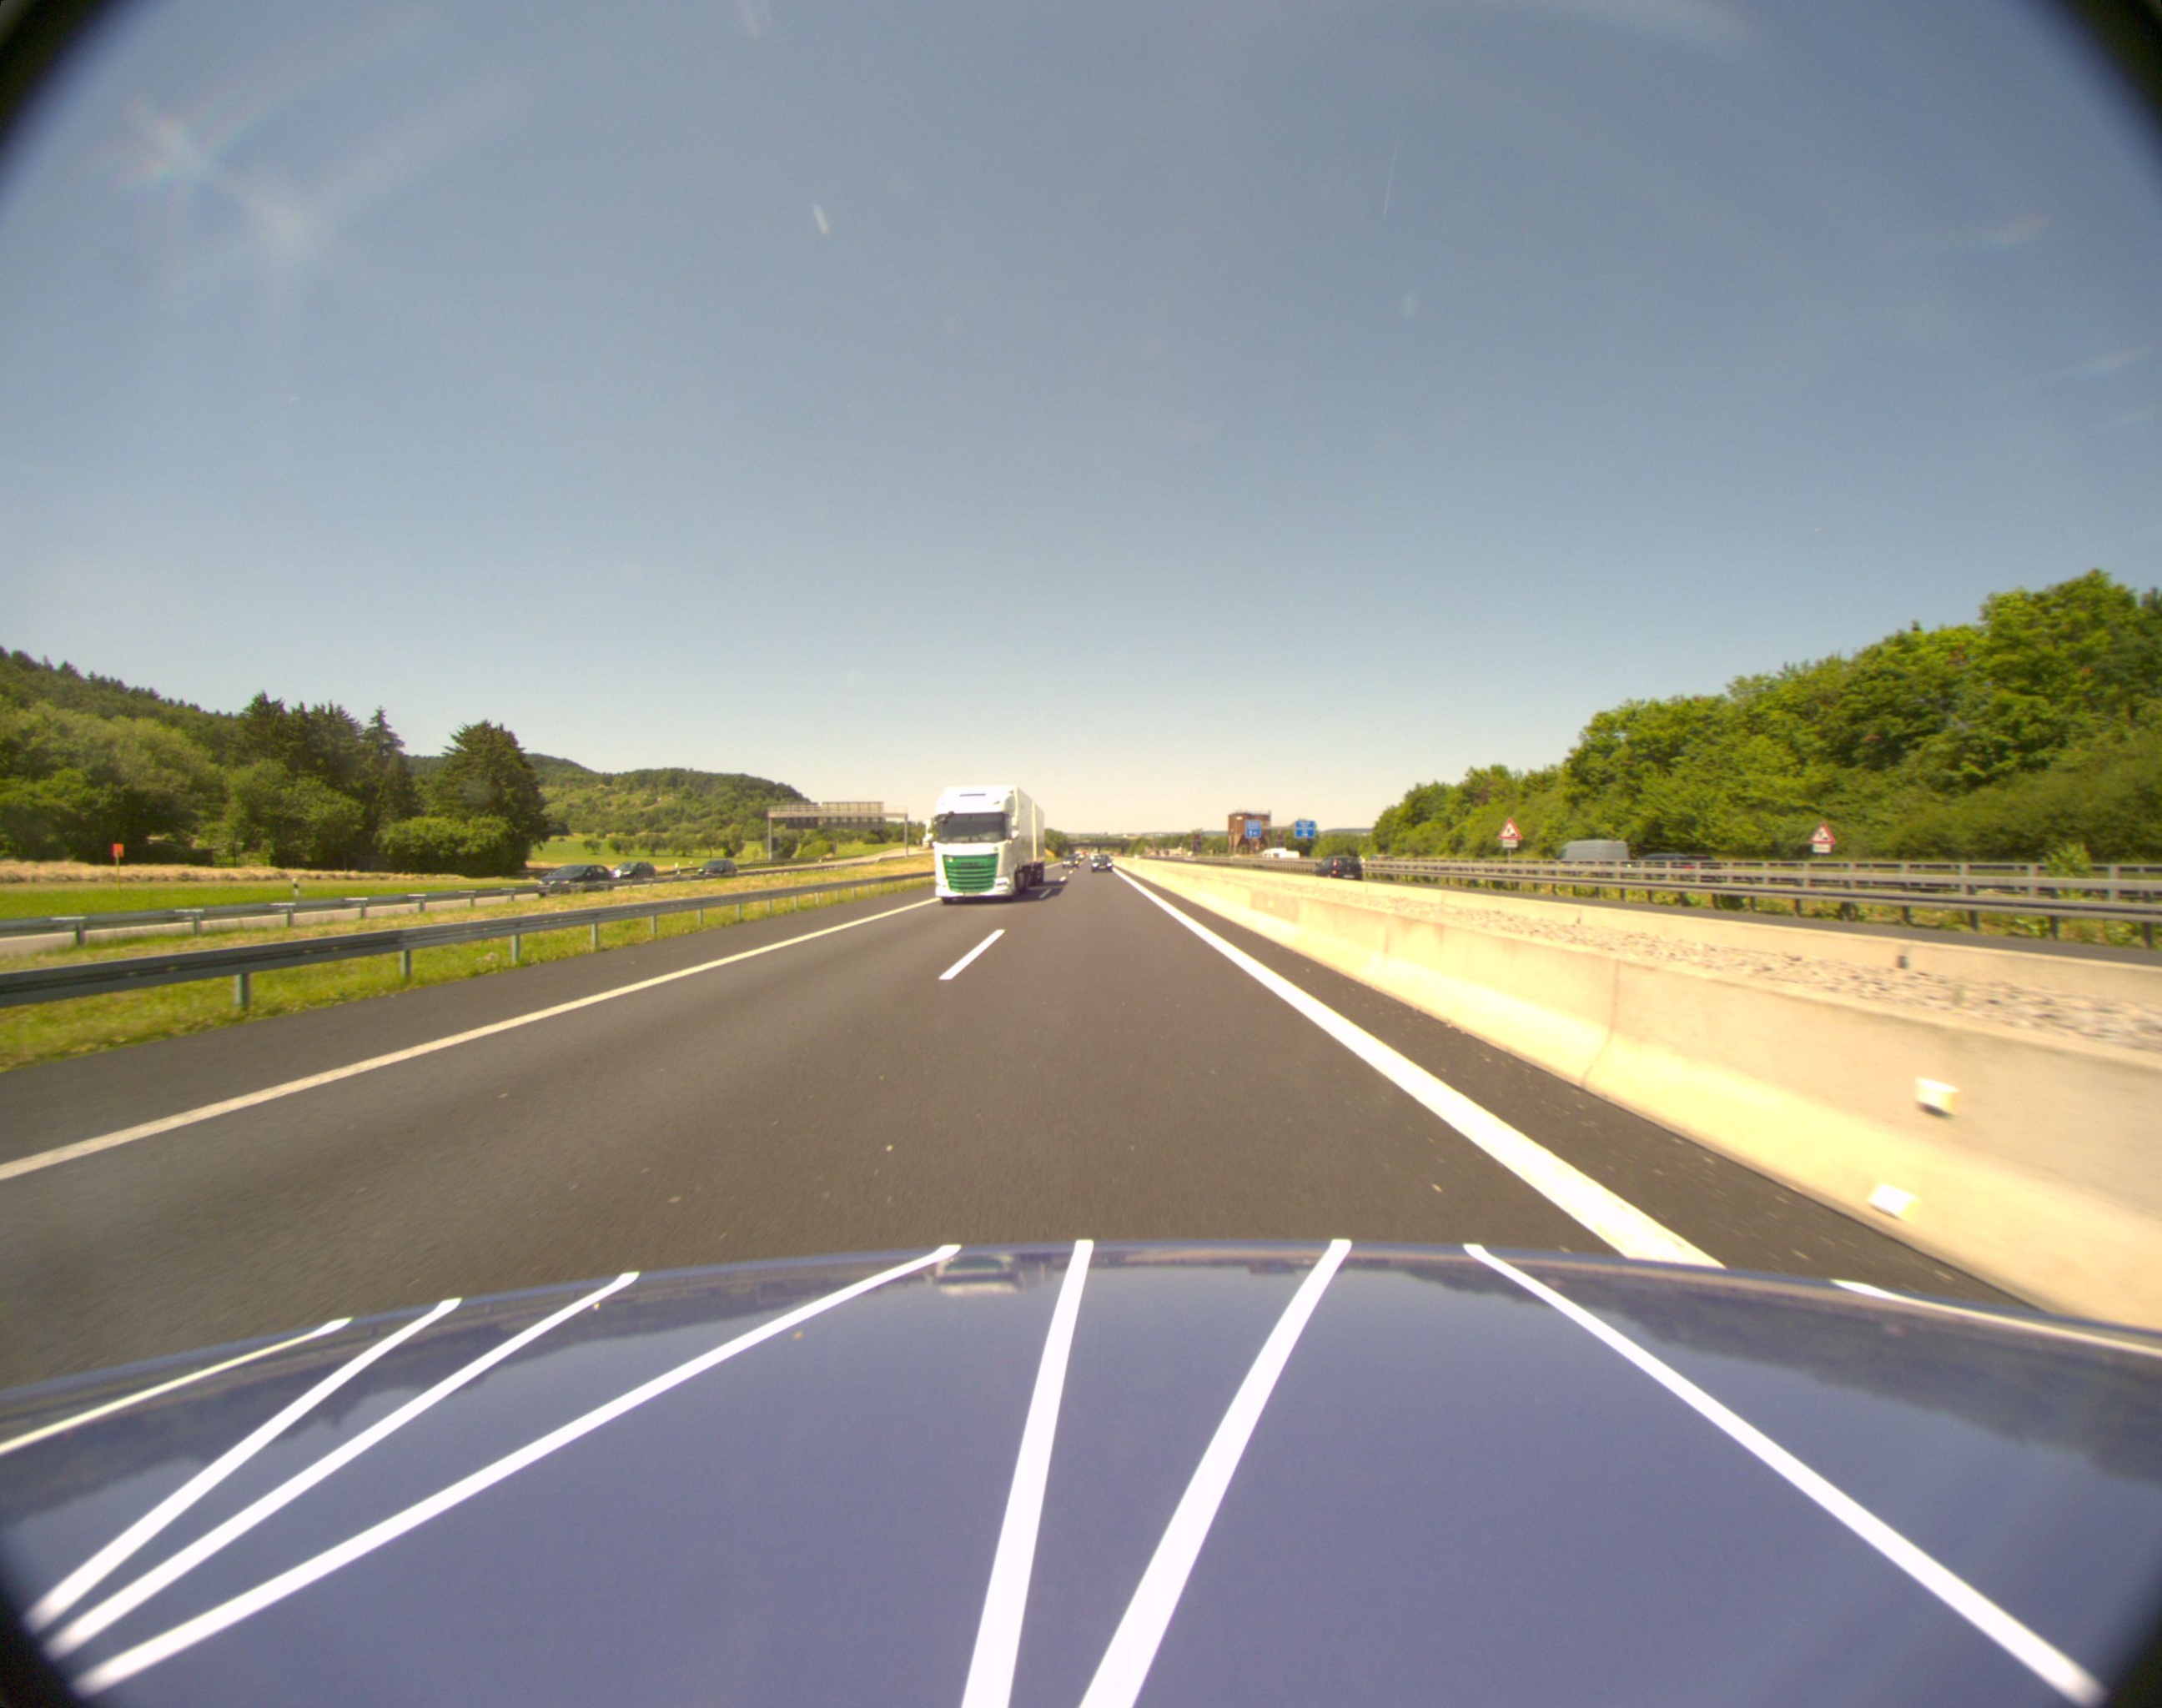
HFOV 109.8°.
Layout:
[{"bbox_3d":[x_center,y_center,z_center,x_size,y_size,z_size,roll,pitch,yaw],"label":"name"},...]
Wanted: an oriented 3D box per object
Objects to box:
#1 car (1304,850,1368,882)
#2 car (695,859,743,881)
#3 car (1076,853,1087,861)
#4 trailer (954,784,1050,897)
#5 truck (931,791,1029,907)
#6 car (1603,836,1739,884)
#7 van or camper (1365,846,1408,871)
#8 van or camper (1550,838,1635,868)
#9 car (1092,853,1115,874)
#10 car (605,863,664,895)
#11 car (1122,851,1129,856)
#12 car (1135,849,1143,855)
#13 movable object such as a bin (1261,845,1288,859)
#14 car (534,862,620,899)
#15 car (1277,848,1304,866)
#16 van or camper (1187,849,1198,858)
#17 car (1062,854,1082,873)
[{"bbox_3d":[12.956,0.557,38.851,1.838,1.525,4.158,0,1,0],"label":"car"},{"bbox_3d":[-27.241,1.181,57.321,1.892,1.464,3.865,-2,1,-4],"label":"car"},{"bbox_3d":[0.067,0.617,160.691,1.998,1.574,4.000,-3,0,2],"label":"car"},{"bbox_3d":[-3.265,-0.571,35.979,2.663,4.164,14.893,-2,1,1],"label":"trailer"},{"bbox_3d":[-3.363,-0.186,26.343,2.649,3.572,4.403,-2,1,0],"label":"truck"},{"bbox_3d":[25.069,0.211,32.586,1.998,1.847,5.037,-1,0,1],"label":"car"},{"bbox_3d":[25.641,0.334,63.991,1.998,2.002,3.999,-2,1,1],"label":"van or camper"},{"bbox_3d":[32.916,-0.085,49.115,1.998,1.788,5.529,-1,0,3],"label":"van or camper"},{"bbox_3d":[1.827,0.777,63.181,1.799,1.574,3.999,-2,1,1],"label":"car"},{"bbox_3d":[-32.029,1.765,54.652,1.999,2.002,3.998,-2,1,-4],"label":"car"},{"bbox_3d":[13.408,-0.141,227.671,1.799,1.586,4.307,-1,0,-1],"label":"car"},{"bbox_3d":[17.324,-0.581,226.081,1.998,1.831,5.084,1,0,1],"label":"car"},{"bbox_3d":[30.269,-0.317,119.064,2.513,2.002,6.779,-2,1,0],"label":"movable object such as a bin"},{"bbox_3d":[-22.376,1.122,33.888,1.783,1.392,3.757,-3,1,-10],"label":"car"},{"bbox_3d":[26.135,0.318,95.068,1.998,2.002,5.348,-2,1,1],"label":"car"},{"bbox_3d":[31.844,-0.161,217.872,2.112,2.242,6.966,-2,1,1],"label":"van or camper"},{"bbox_3d":[-1.006,1.022,85.001,1.998,2.002,3.999,-2,1,1],"label":"car"}]
